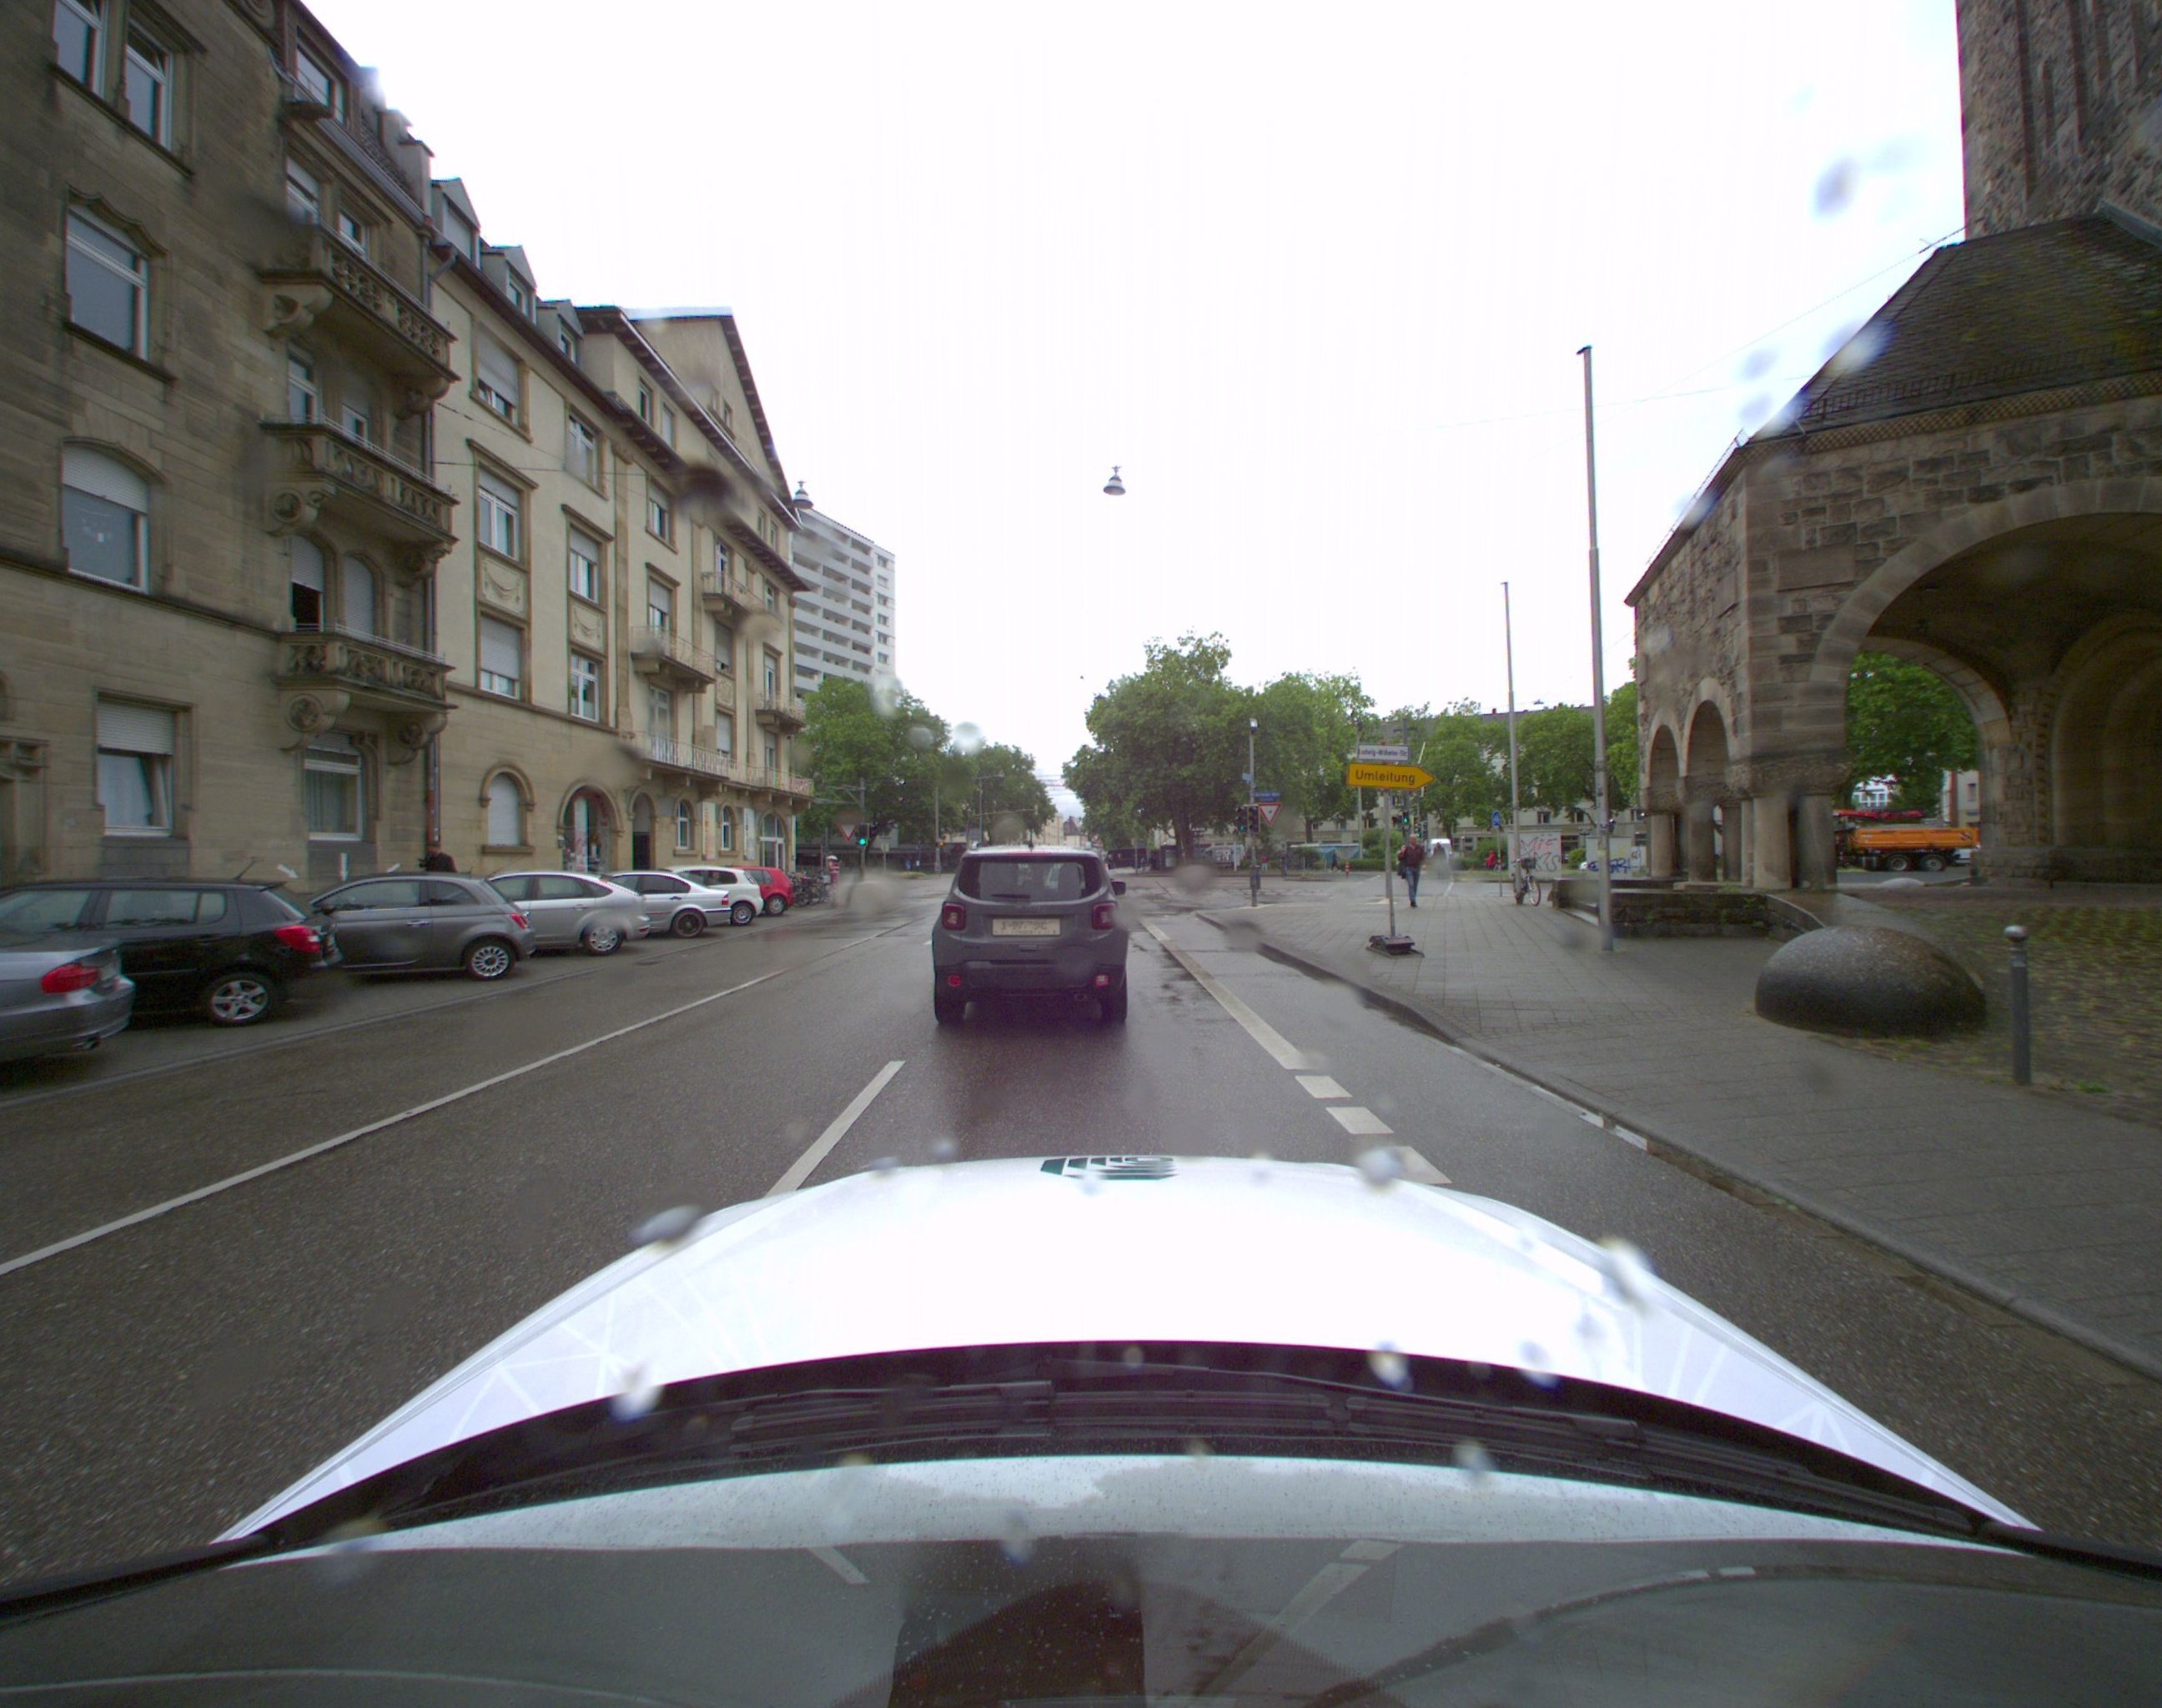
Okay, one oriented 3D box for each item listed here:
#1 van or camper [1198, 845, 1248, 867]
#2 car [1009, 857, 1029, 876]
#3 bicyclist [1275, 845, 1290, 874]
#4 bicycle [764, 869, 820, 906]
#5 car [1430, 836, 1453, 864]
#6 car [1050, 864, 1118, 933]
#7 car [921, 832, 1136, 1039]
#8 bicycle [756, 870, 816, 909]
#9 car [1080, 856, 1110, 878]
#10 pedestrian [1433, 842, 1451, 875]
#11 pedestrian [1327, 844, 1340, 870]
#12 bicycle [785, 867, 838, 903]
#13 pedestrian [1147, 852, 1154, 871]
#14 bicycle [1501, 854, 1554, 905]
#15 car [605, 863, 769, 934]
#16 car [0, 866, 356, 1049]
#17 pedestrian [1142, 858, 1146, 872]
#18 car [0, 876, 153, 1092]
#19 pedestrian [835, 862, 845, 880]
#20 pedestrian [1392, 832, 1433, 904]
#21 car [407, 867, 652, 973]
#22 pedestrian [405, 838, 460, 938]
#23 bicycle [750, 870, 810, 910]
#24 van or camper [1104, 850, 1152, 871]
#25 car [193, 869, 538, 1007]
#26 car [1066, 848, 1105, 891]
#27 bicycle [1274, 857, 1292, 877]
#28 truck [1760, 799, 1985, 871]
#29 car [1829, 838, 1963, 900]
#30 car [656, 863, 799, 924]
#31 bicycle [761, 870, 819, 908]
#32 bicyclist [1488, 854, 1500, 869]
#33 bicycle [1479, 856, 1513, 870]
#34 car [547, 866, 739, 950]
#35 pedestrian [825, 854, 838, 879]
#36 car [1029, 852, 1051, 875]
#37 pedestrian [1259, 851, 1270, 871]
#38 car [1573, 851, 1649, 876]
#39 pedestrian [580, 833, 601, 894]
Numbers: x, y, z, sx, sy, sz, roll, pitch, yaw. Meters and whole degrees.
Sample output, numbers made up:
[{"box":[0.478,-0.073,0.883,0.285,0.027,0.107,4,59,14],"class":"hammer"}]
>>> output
[{"box":[15.560,0.243,89.499,5.234,2.315,2.092,-1,0,4],"class":"van or camper"},{"box":[-5.906,1.177,78.023,1.810,1.670,3.916,-1,0,-3],"class":"car"},{"box":[11.622,0.318,46.950,0.681,1.617,0.888,-2,-1,21],"class":"bicyclist"},{"box":[-10.411,1.202,29.360,1.758,1.266,0.608,-2,-1,-1],"class":"bicycle"},{"box":[34.722,-0.353,78.294,1.889,2.555,4.814,-2,0,25],"class":"car"},{"box":[0.095,0.928,18.405,1.358,1.376,3.312,-1,0,1],"class":"car"},{"box":[-0.435,0.698,8.859,1.769,1.687,3.848,-2,0,0],"class":"car"},{"box":[-10.007,1.190,27.644,1.805,1.266,0.498,-2,-1,-1],"class":"bicycle"},{"box":[0.849,0.764,49.996,1.589,1.252,3.571,-1,0,-3],"class":"car"},{"box":[18.511,0.220,41.772,0.775,1.645,0.659,-2,-1,25],"class":"pedestrian"},{"box":[19.412,0.225,62.543,0.798,2.014,0.593,-2,-1,28],"class":"pedestrian"},{"box":[-9.999,1.151,30.236,1.758,1.266,0.608,-2,-1,-1],"class":"bicycle"},{"box":[7.464,0.779,87.494,0.646,2.014,0.484,-1,-1,13],"class":"pedestrian"},{"box":[10.688,0.589,19.566,0.327,1.154,2.079,-2,0,6],"class":"bicycle"},{"box":[-9.840,1.046,20.407,3.420,1.558,1.686,-1,-1,-38],"class":"car"},{"box":[-9.860,0.966,8.300,3.571,1.598,1.587,-1,-1,-38],"class":"car"},{"box":[7.673,1.329,99.681,0.456,1.704,0.424,-1,-1,1],"class":"pedestrian"},{"box":[-9.689,0.993,5.341,4.573,1.545,1.668,-1,-1,-42],"class":"car"},{"box":[-21.507,1.502,72.662,0.438,1.530,0.647,-2,-1,27],"class":"pedestrian"},{"box":[8.323,0.352,20.479,0.780,1.759,0.949,-2,-1,16],"class":"pedestrian"},{"box":[-9.652,1.058,14.389,3.420,1.558,1.686,-1,-1,-38],"class":"car"},{"box":[-13.348,0.681,16.778,0.565,2.014,0.655,-1,-1,1],"class":"pedestrian"},{"box":[-10.000,1.195,27.097,1.758,1.266,0.522,-2,-1,-1],"class":"bicycle"},{"box":[6.924,0.935,119.795,6.465,2.912,2.509,-2,-1,27],"class":"van or camper"},{"box":[-9.727,1.028,11.402,3.420,1.558,1.634,-1,-1,-38],"class":"car"},{"box":[0.247,0.731,40.551,1.764,2.013,4.000,-1,0,1],"class":"car"},{"box":[11.699,0.738,47.122,0.686,1.021,2.672,-2,0,21],"class":"bicycle"},{"box":[42.352,-0.912,43.971,8.334,3.524,2.390,-1,-1,24],"class":"truck"},{"box":[21.001,0.371,21.142,1.390,1.479,3.239,-1,0,25],"class":"car"},{"box":[-10.078,1.065,23.302,3.420,1.558,1.686,-1,-1,-38],"class":"car"},{"box":[-10.123,1.205,28.329,1.805,1.266,0.498,-2,-1,-1],"class":"bicycle"},{"box":[27.478,0.491,54.169,0.673,1.026,0.563,-1,-1,25],"class":"bicyclist"},{"box":[27.581,0.620,54.122,1.949,0.911,0.563,-1,-1,24],"class":"bicycle"},{"box":[-9.449,1.094,17.667,3.420,1.558,1.686,-1,-1,-38],"class":"car"},{"box":[-18.645,0.935,60.791,0.614,1.826,0.697,-2,-1,14],"class":"pedestrian"},{"box":[-3.320,0.765,66.227,1.717,1.739,3.726,-1,0,-3],"class":"car"},{"box":[14.621,0.547,64.865,0.667,1.554,0.766,-2,-2,29],"class":"pedestrian"},{"box":[31.608,0.561,48.670,3.529,1.387,1.637,-2,0,23],"class":"car"},{"box":[-14.840,0.283,24.643,0.365,1.823,0.347,-2,-1,-1],"class":"pedestrian"}]
